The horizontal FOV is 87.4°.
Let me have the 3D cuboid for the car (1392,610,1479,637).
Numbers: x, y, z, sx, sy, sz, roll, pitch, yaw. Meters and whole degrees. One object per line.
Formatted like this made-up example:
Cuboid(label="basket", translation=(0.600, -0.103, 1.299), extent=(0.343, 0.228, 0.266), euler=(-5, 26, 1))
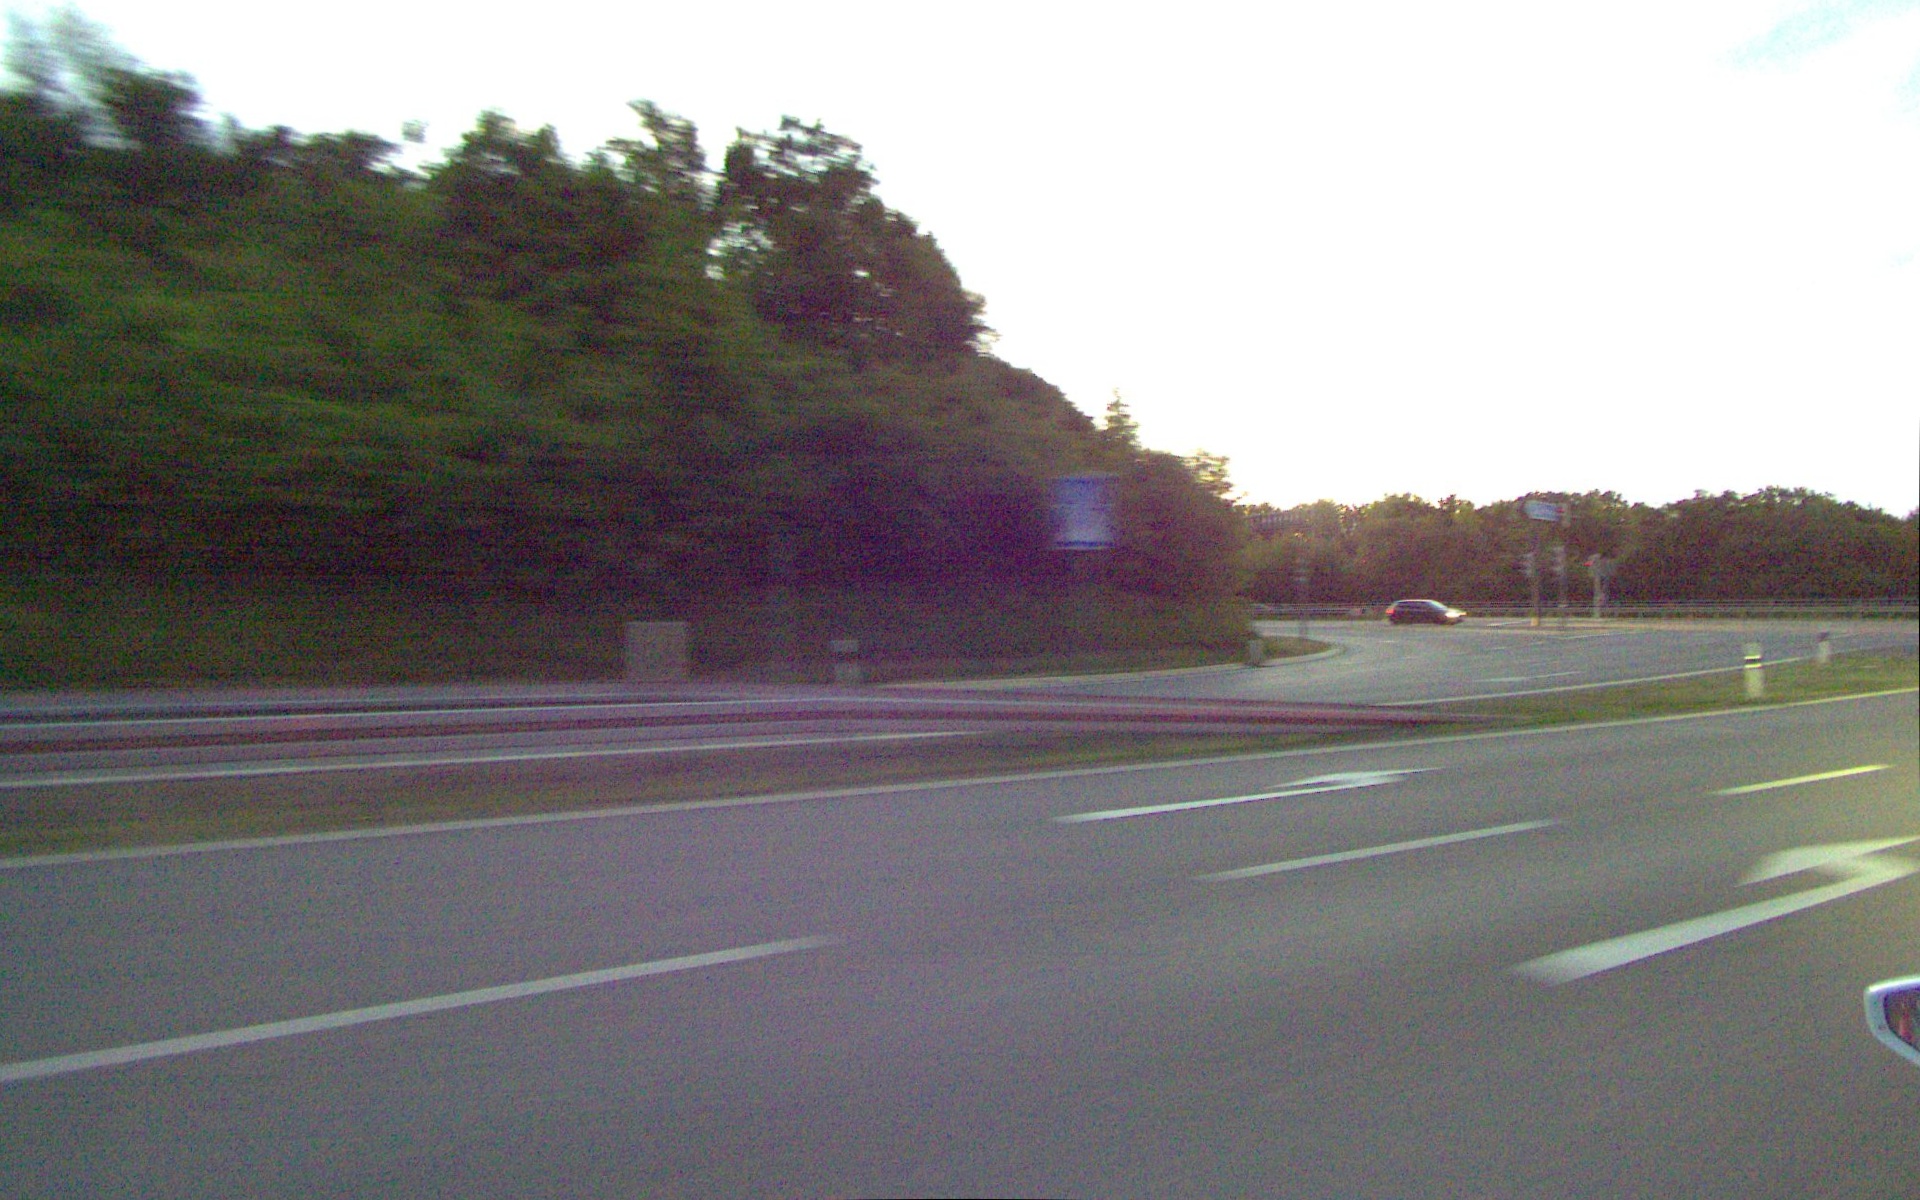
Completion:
Cuboid(label="car", translation=(26.348, 1.327, 55.763), extent=(1.986, 1.472, 3.949), euler=(2, -2, -44))
